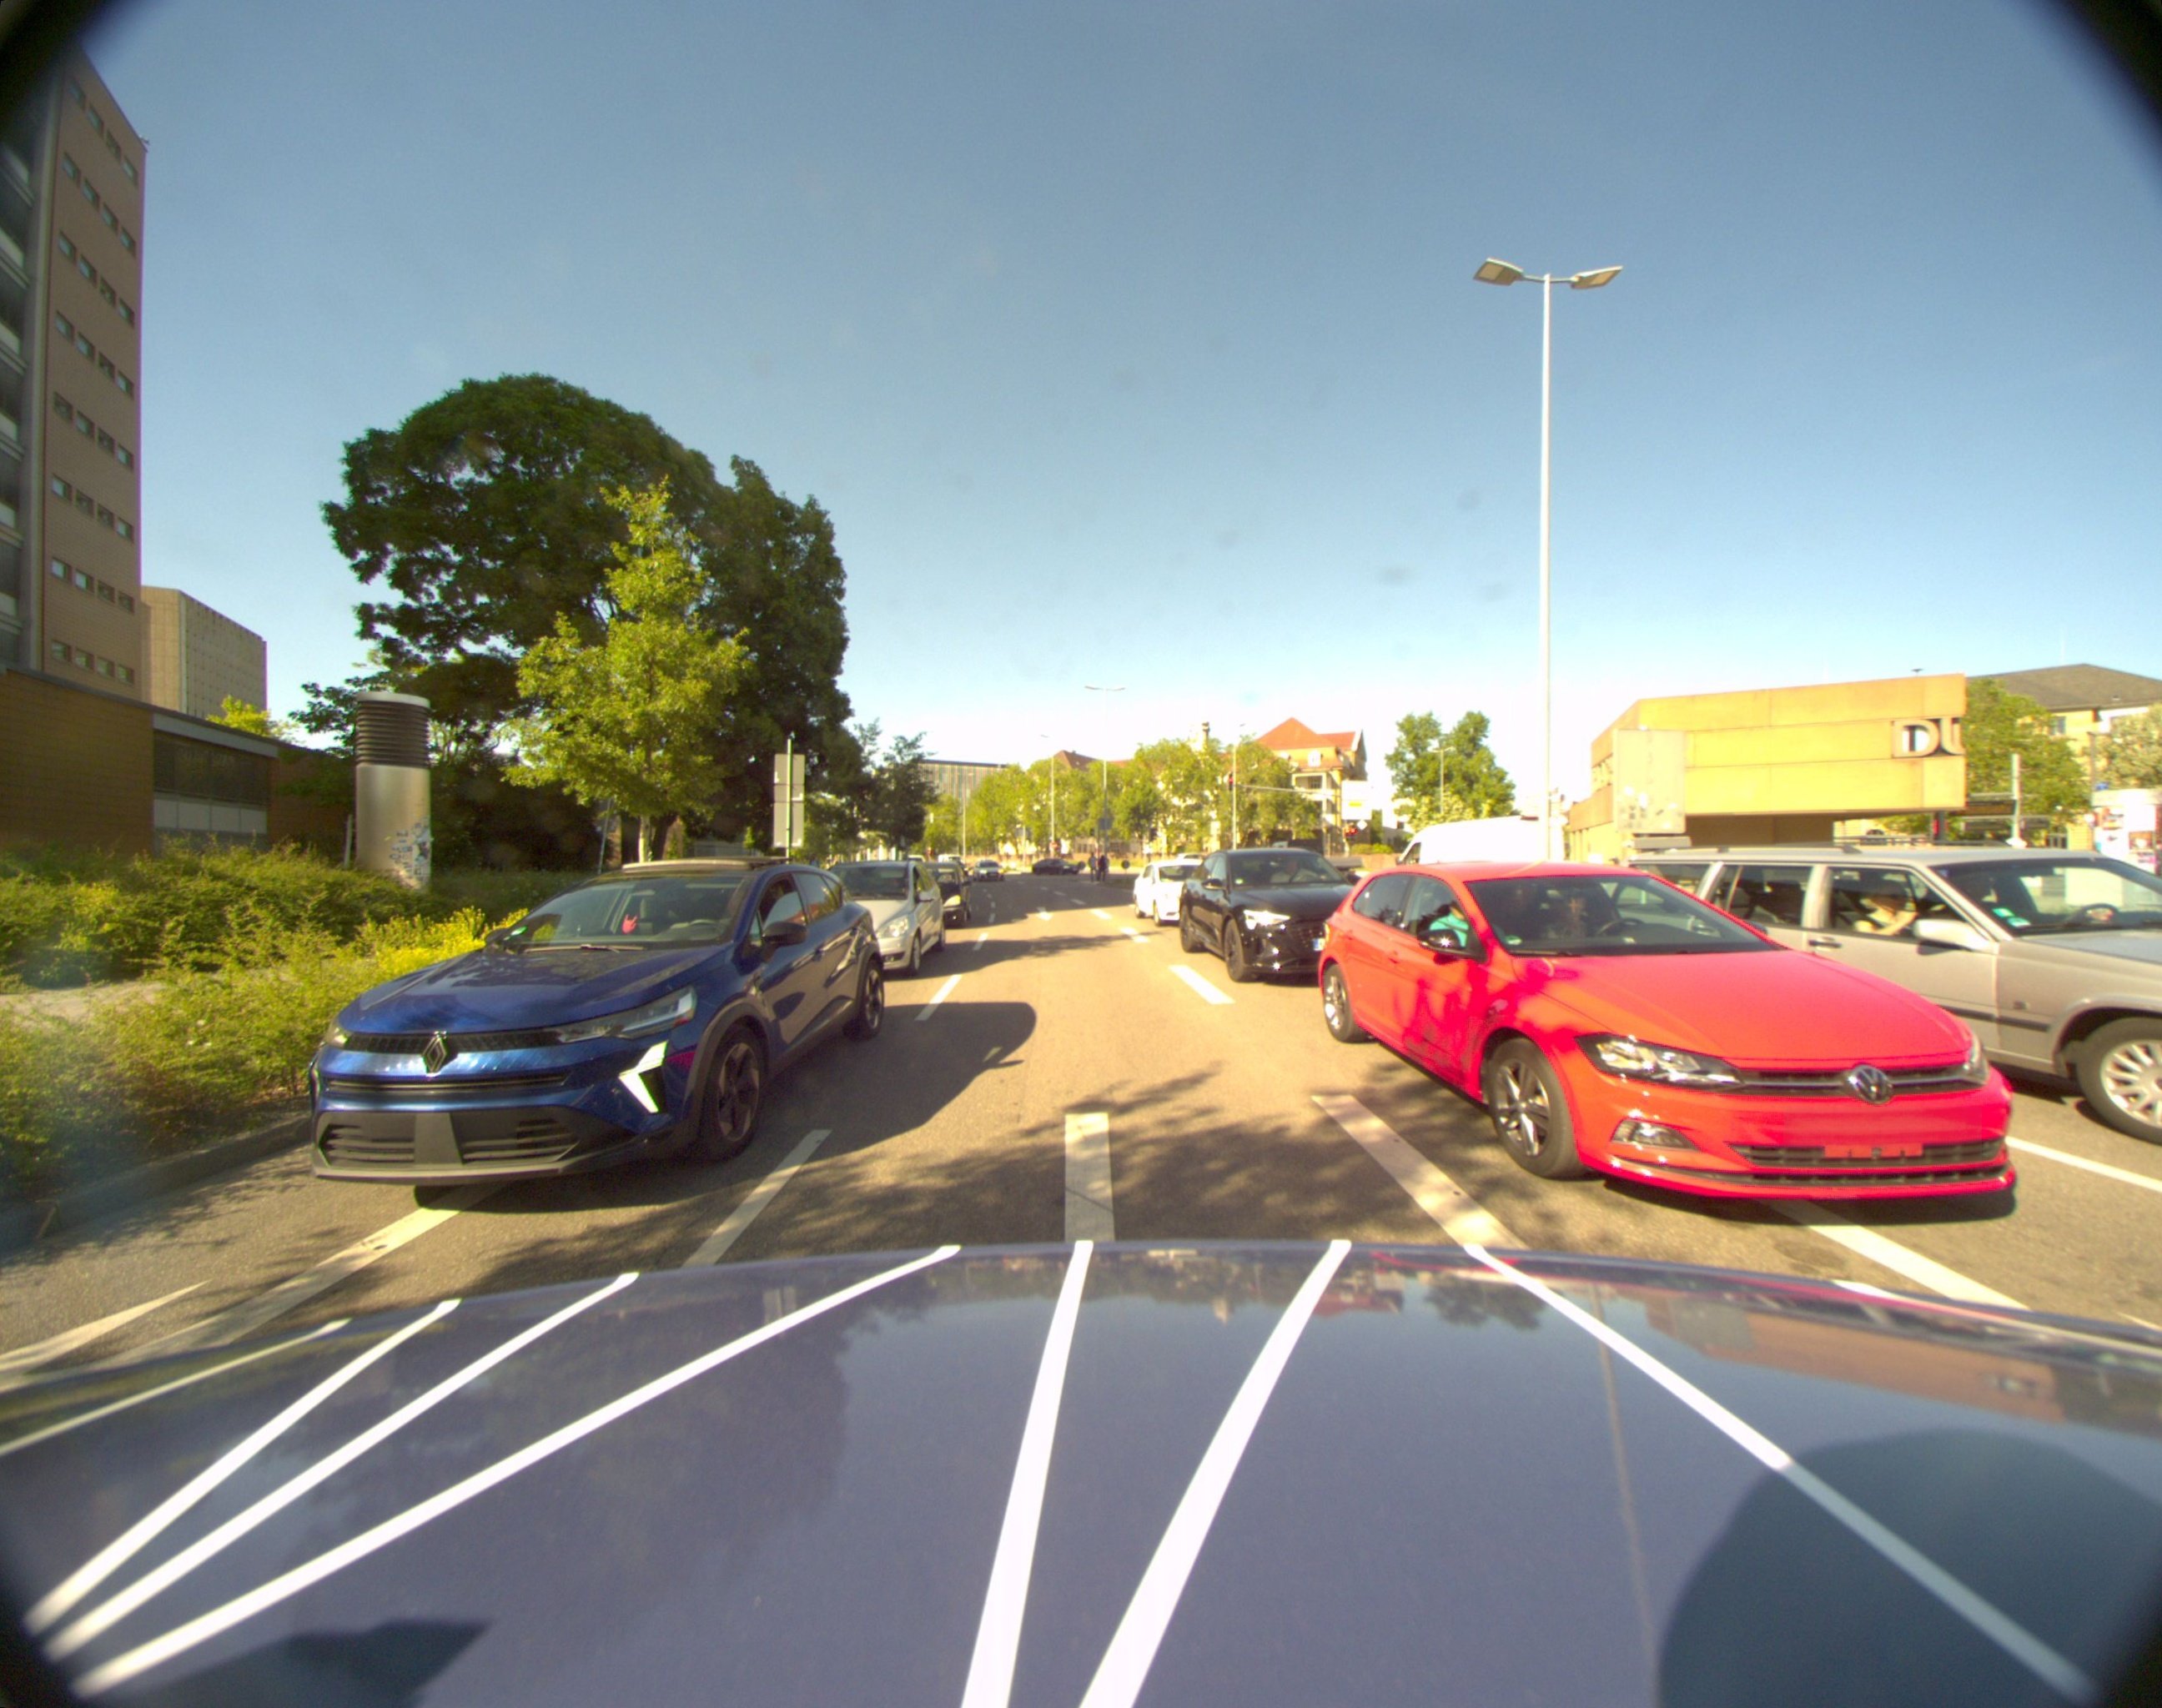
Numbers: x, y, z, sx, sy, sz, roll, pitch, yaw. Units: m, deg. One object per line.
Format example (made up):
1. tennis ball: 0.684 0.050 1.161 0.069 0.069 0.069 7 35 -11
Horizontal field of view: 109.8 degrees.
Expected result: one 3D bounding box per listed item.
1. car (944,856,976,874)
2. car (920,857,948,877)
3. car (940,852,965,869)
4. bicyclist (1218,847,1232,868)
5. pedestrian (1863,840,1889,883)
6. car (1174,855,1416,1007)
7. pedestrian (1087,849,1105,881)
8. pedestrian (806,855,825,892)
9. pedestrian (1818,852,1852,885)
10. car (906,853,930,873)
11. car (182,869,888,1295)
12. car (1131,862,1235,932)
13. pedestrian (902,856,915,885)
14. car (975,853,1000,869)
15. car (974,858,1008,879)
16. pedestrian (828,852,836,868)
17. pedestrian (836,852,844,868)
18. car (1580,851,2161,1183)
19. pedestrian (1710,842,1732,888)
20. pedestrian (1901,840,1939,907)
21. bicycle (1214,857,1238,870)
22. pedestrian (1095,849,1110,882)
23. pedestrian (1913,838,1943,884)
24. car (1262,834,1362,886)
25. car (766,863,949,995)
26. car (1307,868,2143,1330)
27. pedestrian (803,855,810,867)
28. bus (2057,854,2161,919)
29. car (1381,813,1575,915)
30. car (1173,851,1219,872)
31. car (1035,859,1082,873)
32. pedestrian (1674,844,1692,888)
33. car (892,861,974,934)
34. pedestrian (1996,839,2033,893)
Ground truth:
1. car: -11.092 0.999 69.613 1.884 1.472 3.992 -2 0 -24
2. car: -11.718 0.993 60.543 1.754 1.467 3.569 -2 1 -17
3. car: -15.730 0.735 92.840 1.790 2.002 4.223 -2 1 -26
4. bicyclist: 10.903 0.245 57.362 0.816 1.549 0.695 -2 1 -7
5. pedestrian: 33.228 0.316 31.762 0.645 1.766 0.468 -1 1 -4
6. car: 2.569 0.827 10.365 1.859 1.606 4.452 0 0 -3
7. pedestrian: 0.865 0.618 44.513 0.887 1.814 0.776 -2 1 -7
8. pedestrian: -11.367 0.831 32.578 0.693 1.594 0.661 0 0 -14
9. pedestrian: 30.142 0.566 30.376 0.645 1.303 0.763 -1 0 10
10. car: -15.825 0.830 73.522 1.830 1.842 3.746 0 0 -19
11. car: -2.683 0.945 5.056 1.705 1.596 4.084 -1 0 0
12. car: 2.272 0.924 17.777 1.575 1.410 3.711 0 0 -6
13. pedestrian: -9.526 0.901 42.013 0.662 1.594 0.692 0 0 -15
14. car: -9.650 0.692 78.119 1.598 1.596 3.065 0 0 -26
15. car: -6.315 1.002 53.090 1.754 1.370 3.569 -1 0 -16
16. pedestrian: -30.850 0.771 94.132 0.823 1.906 0.770 -2 1 -23
17. pedestrian: -29.939 0.737 94.258 0.823 1.906 0.770 -2 1 -23
18. car: 5.786 0.771 4.965 1.713 1.464 4.752 -4 -1 -2
19. pedestrian: 24.645 0.427 29.261 0.644 1.766 0.618 0 1 42
20. pedestrian: 23.039 0.525 20.864 0.647 1.778 0.666 -3 1 -40
21. bicycle: 10.924 0.708 57.359 1.654 0.884 0.590 -2 1 -7
22. pedestrian: 1.218 0.632 43.165 0.756 1.814 0.776 -2 1 -6
23. pedestrian: 33.114 0.263 29.711 0.645 1.766 0.468 -1 1 -4
24. car: 11.086 0.290 37.097 2.117 2.300 6.209 -1 0 -10
25. car: -3.156 0.963 11.594 1.786 1.615 4.042 0 0 -3
26. car: 2.796 0.874 4.536 1.674 1.464 3.853 -2 0 -1
27. pedestrian: -43.616 1.115 120.795 0.823 1.906 0.770 -2 1 -26
28. bus: 21.667 0.617 14.075 1.646 1.234 4.181 -1 0 -5
29. car: 10.871 0.246 21.431 2.000 2.493 5.414 0 0 -9
30. car: 9.217 0.603 61.175 3.379 1.669 1.525 0 0 -5
31. car: -1.958 1.005 64.517 3.988 1.197 1.589 0 0 41
32. pedestrian: 24.039 0.470 30.355 0.467 1.766 0.647 0 1 29
33. car: -3.564 0.982 18.801 1.651 1.601 3.488 0 0 -6
34. pedestrian: 31.457 0.402 25.610 0.644 1.766 0.469 0 1 21
